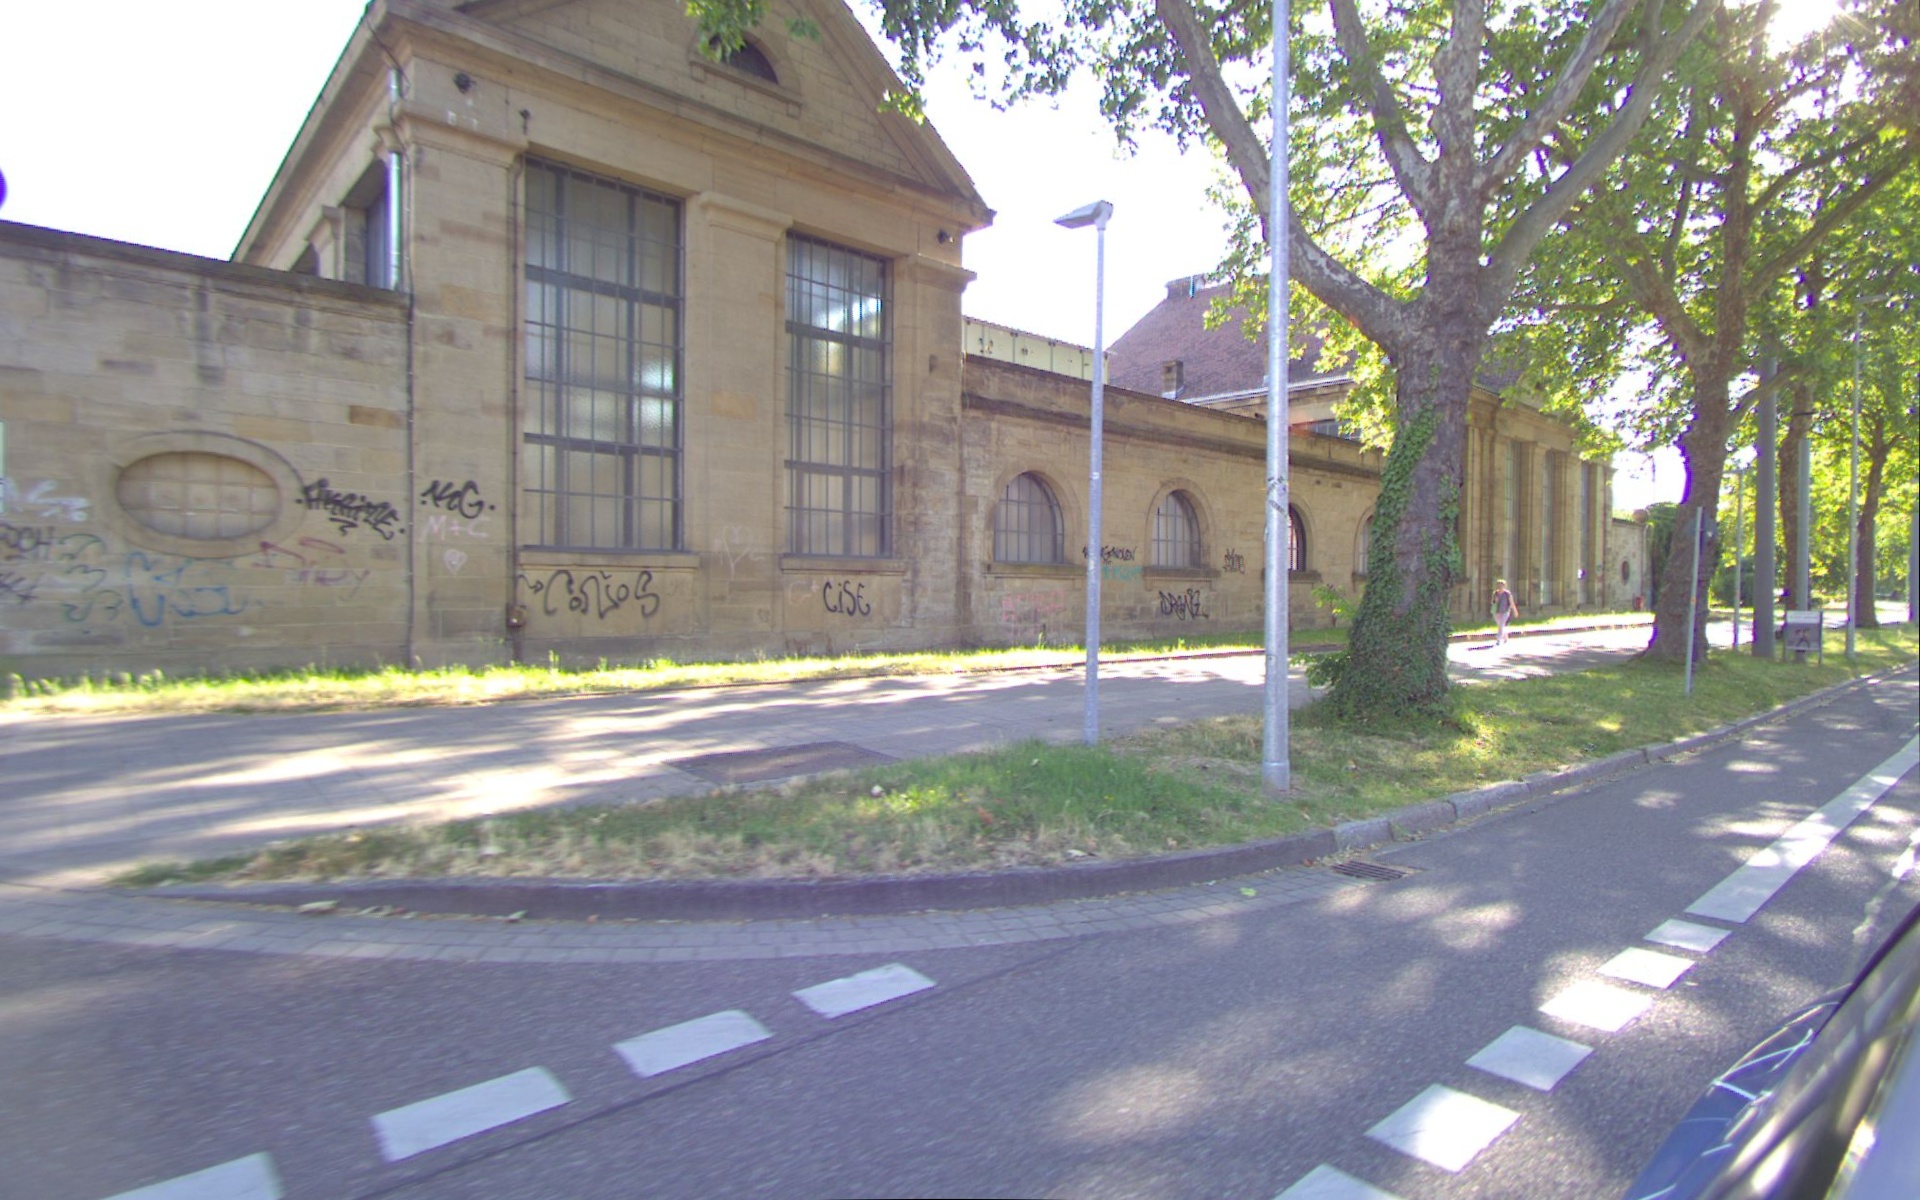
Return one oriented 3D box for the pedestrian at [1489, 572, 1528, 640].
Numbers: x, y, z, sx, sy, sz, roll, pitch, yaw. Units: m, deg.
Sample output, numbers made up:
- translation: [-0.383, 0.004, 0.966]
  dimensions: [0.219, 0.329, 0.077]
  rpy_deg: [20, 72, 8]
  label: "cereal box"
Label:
- translation: [14.239, 0.144, 26.254]
  dimensions: [0.625, 1.702, 0.609]
  rpy_deg: [0, 5, -44]
  label: "pedestrian"
